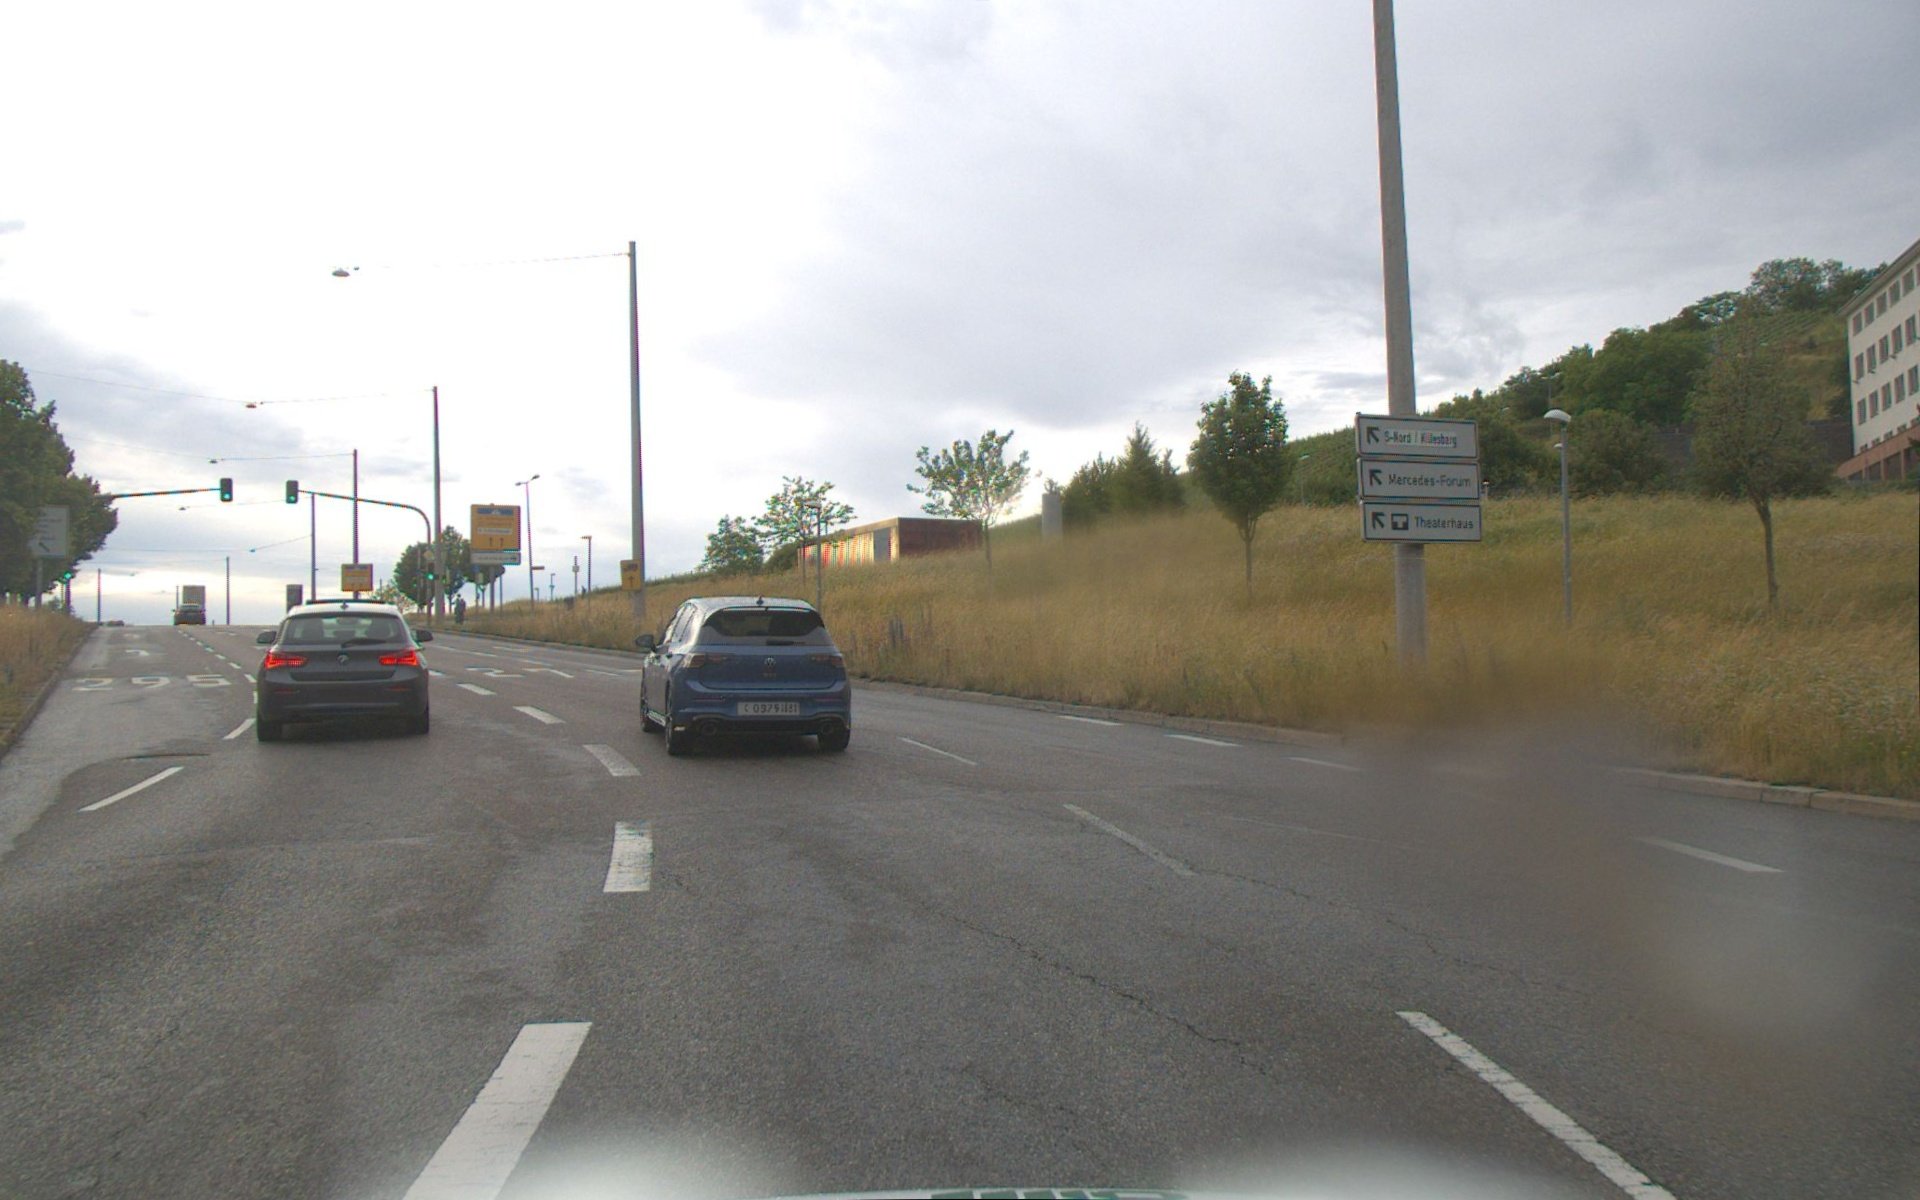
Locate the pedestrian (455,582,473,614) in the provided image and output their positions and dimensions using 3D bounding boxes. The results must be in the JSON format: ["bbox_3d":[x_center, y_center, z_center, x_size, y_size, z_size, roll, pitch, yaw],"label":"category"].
[{"bbox_3d":[-25.920,-0.114,86.375,0.627,1.597,0.885,-3,4,-35],"label":"pedestrian"}]

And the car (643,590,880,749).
[{"bbox_3d":[-2.146,0.623,16.887,1.808,1.418,3.982,0,0,-16],"label":"car"}]

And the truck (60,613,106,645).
[{"bbox_3d":[-94.976,3.158,179.069,2.655,3.277,6.440,3,-5,-44],"label":"truck"}]

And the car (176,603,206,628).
[{"bbox_3d":[-50.636,0.998,108.925,1.700,1.568,3.673,3,-2,-25],"label":"car"}]

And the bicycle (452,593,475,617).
[{"bbox_3d":[-25.967,0.252,86.489,0.628,1.123,1.731,-4,5,-36],"label":"bicycle"}]

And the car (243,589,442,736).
[{"bbox_3d":[-6.933,0.650,18.918,1.839,1.487,3.958,0,-1,-16],"label":"car"}]
